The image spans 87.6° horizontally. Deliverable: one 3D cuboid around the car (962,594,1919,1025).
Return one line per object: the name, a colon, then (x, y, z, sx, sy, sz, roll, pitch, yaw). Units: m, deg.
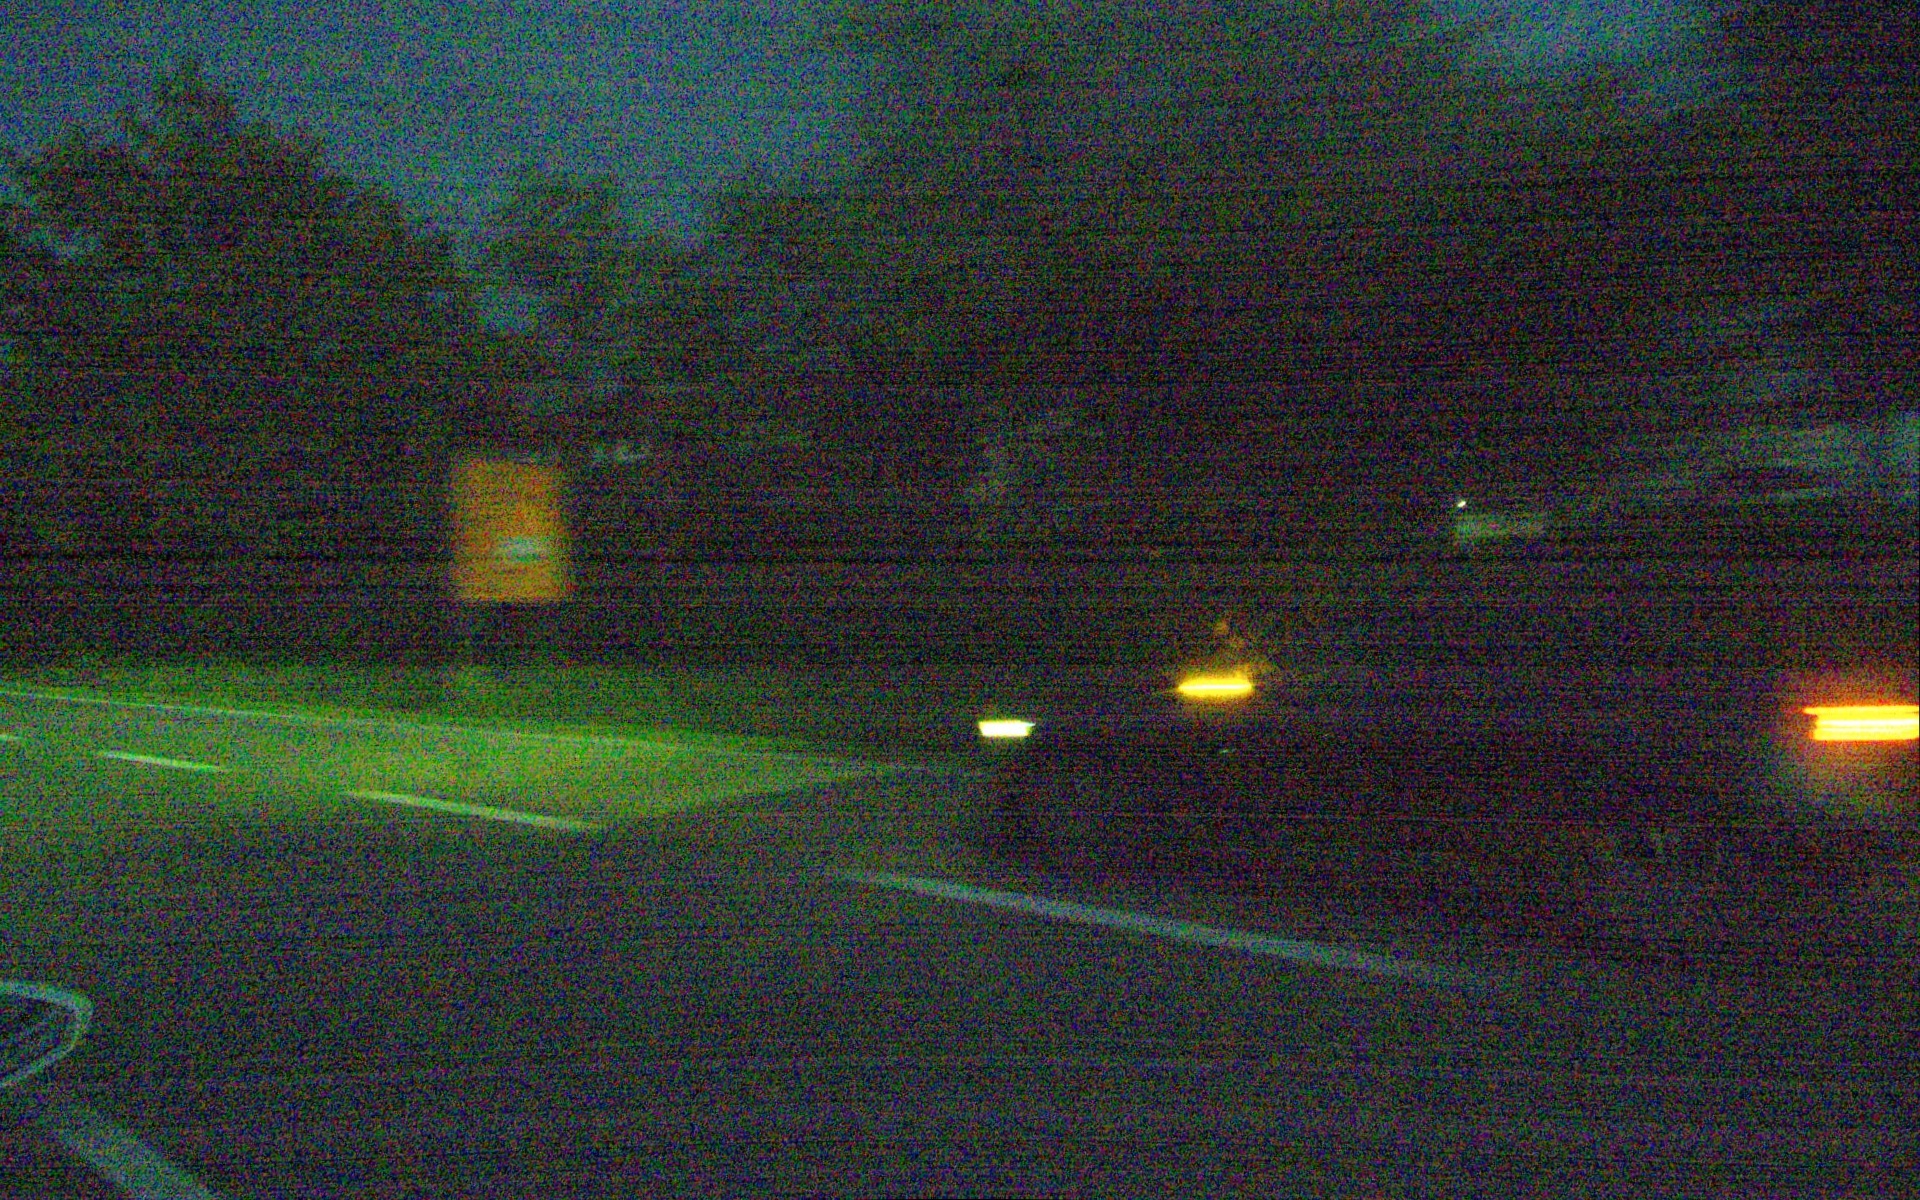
car: (2.402, 0.825, 5.753, 4.492, 1.641, 1.897, -1, 0, 33)
